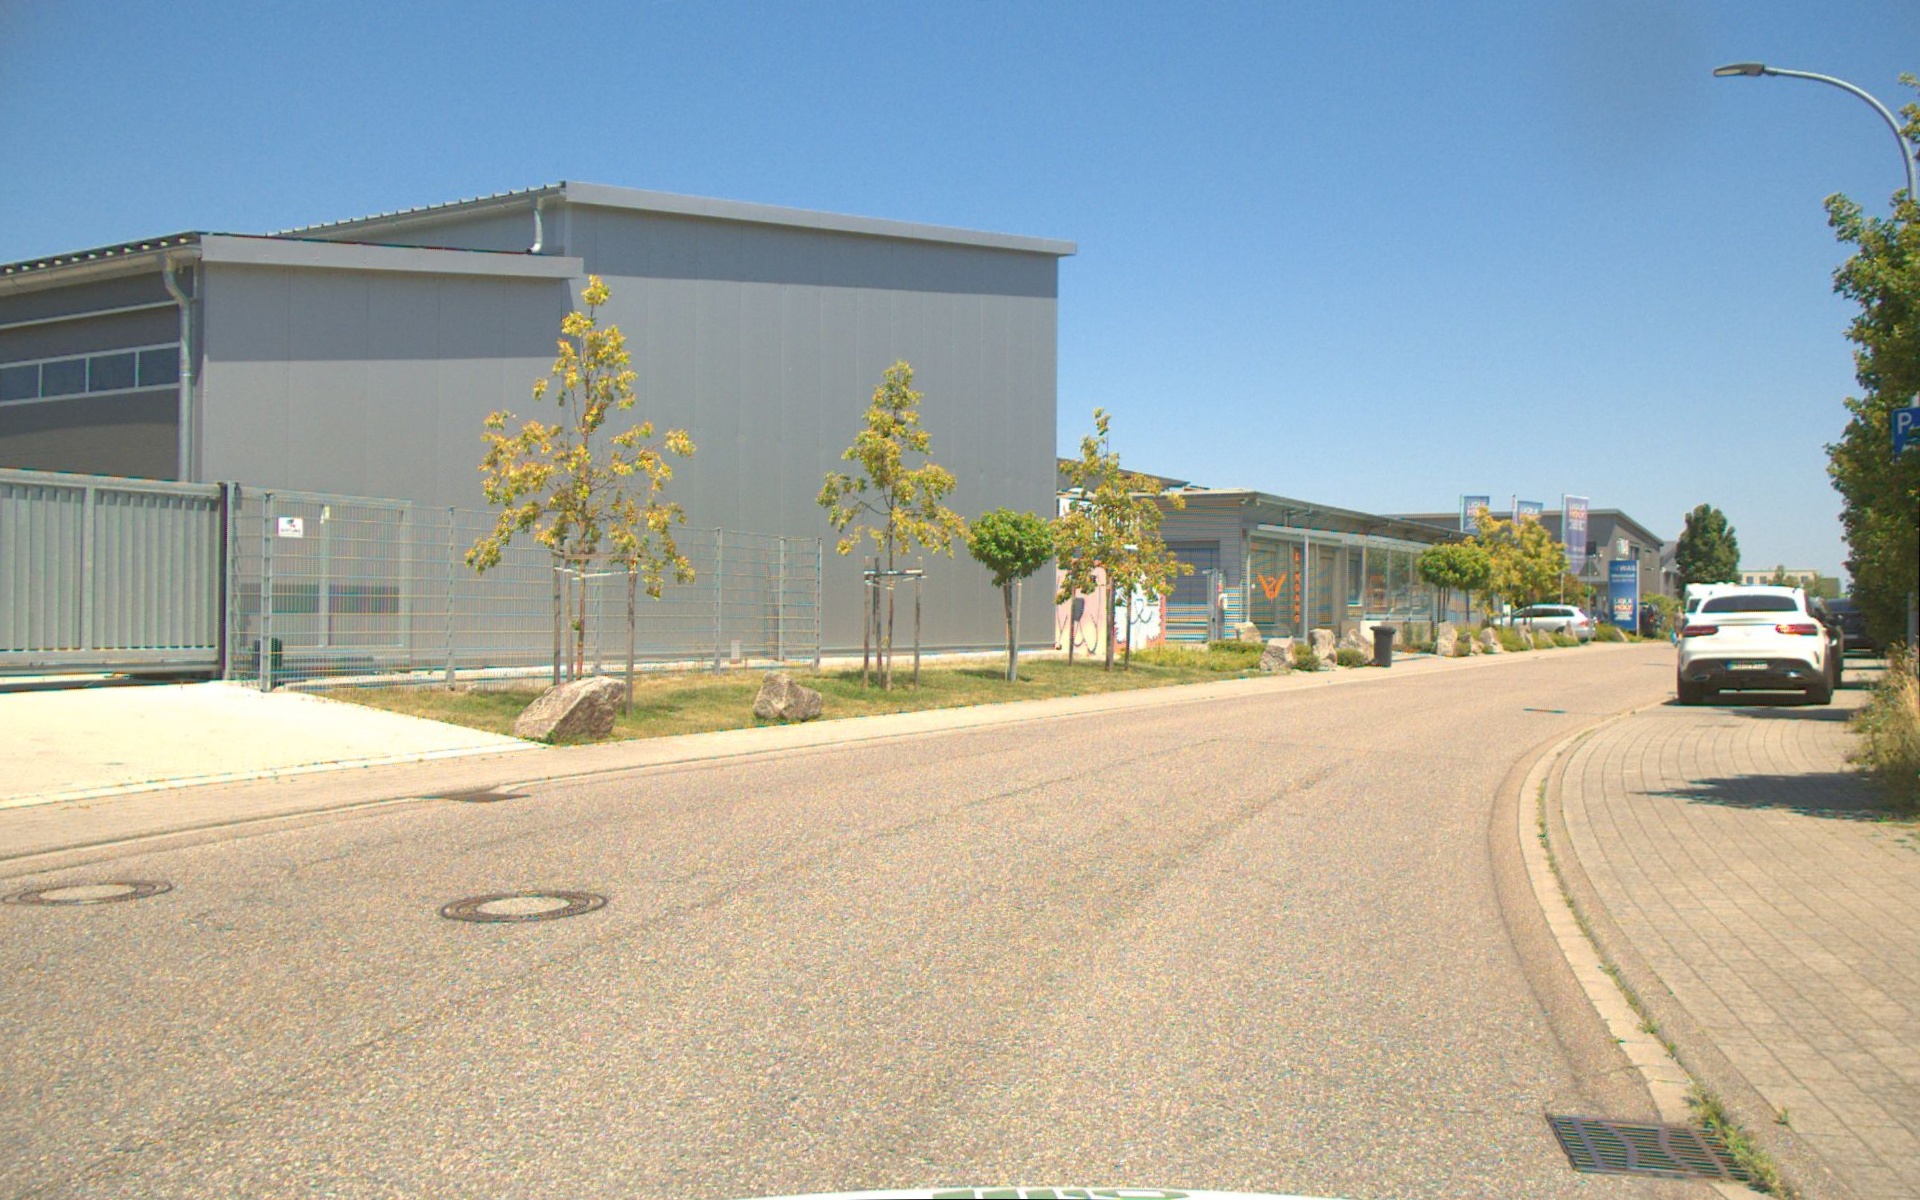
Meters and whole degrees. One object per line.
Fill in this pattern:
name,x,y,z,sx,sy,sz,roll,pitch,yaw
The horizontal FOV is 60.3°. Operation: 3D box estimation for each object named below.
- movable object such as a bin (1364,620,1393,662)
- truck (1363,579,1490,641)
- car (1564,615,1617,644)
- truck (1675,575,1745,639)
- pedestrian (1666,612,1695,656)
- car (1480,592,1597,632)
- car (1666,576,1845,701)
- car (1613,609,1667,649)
movable object such as a bin,9.851,0.957,38.950,0.559,0.966,0.511,1,0,25
truck,28.610,0.574,101.831,2.551,3.619,7.983,1,0,-30
car,33.717,1.572,88.430,1.896,1.441,4.759,2,0,30
truck,36.020,0.379,79.320,2.318,2.910,6.401,-2,-2,31
pedestrian,27.075,1.261,62.157,0.883,1.601,0.784,2,1,31
car,23.319,0.463,66.683,4.182,1.544,1.862,0,-1,30
car,12.379,0.575,25.561,2.104,1.728,4.775,-2,-1,30
car,35.573,1.525,86.475,1.956,1.991,5.207,1,-1,30
